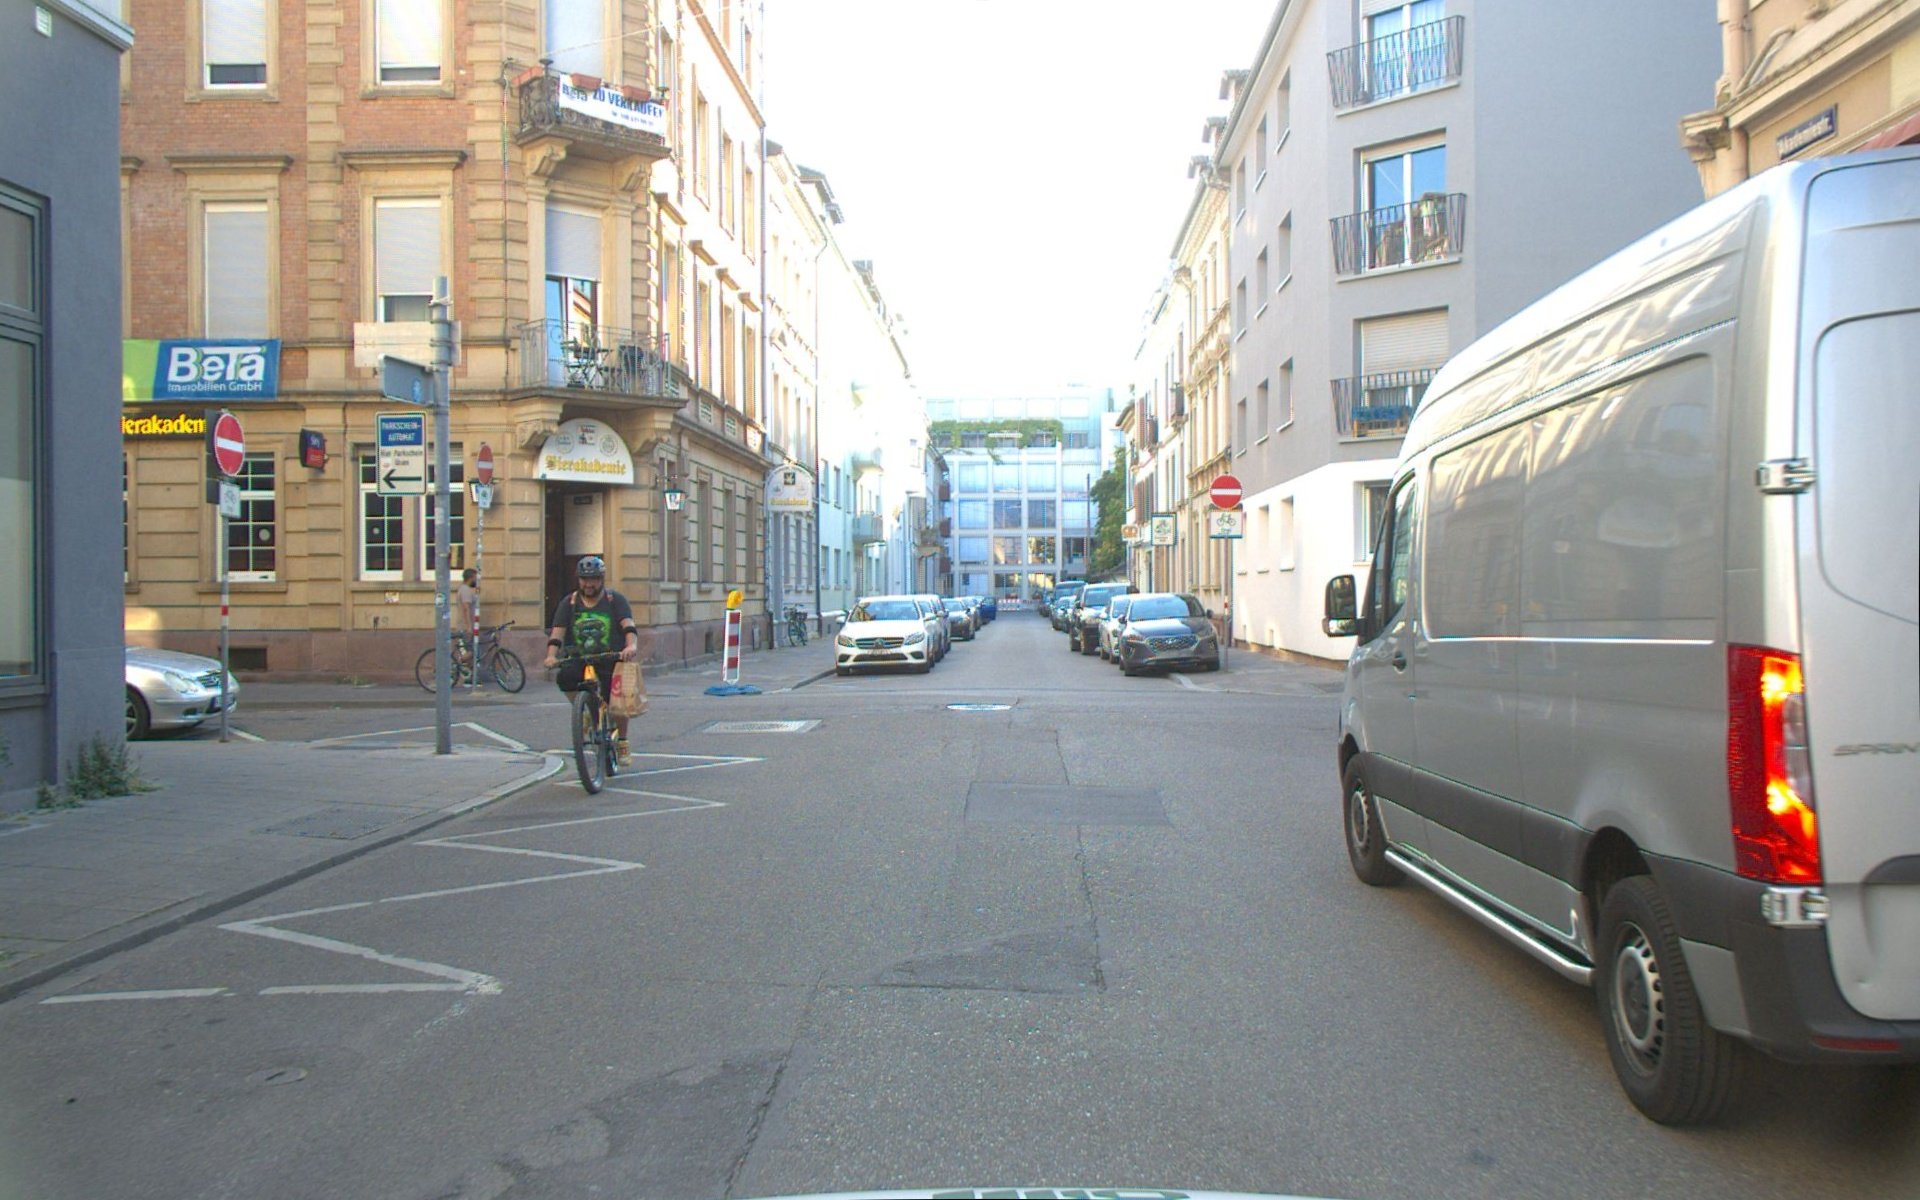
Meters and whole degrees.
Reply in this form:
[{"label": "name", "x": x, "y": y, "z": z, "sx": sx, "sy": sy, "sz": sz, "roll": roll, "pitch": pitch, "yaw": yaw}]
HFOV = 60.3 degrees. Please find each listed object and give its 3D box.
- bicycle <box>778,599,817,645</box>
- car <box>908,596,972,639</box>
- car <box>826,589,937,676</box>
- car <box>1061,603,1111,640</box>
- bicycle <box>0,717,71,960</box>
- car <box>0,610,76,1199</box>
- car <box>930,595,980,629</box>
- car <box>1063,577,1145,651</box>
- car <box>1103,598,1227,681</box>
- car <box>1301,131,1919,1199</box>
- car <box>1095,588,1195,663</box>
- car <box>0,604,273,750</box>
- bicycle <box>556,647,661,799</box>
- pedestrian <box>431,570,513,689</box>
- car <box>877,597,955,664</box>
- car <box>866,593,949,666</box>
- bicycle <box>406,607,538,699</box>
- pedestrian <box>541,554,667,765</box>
[{"label": "bicycle", "x": -4.319, "y": 0.576, "z": 44.193, "sx": 0.722, "sy": 1.181, "sz": 2.462, "roll": 0, "pitch": 0, "yaw": 2}, {"label": "car", "x": -0.633, "y": 0.562, "z": 55.395, "sx": 1.952, "sy": 1.378, "sz": 4.430, "roll": 0, "pitch": 0, "yaw": 2}, {"label": "car", "x": -1.477, "y": 0.588, "z": 32.702, "sx": 1.952, "sy": 1.591, "sz": 4.506, "roll": 0, "pitch": 0, "yaw": 0}, {"label": "car", "x": 5.158, "y": 0.870, "z": 68.044, "sx": 1.952, "sy": 1.476, "sz": 4.002, "roll": 0, "pitch": 0, "yaw": 3}, {"label": "bicycle", "x": -4.084, "y": 0.958, "z": 6.165, "sx": 0.584, "sy": 0.921, "sz": 1.644, "roll": 0, "pitch": 0, "yaw": 3}, {"label": "car", "x": -2.636, "y": 0.740, "z": 1.404, "sx": 1.623, "sy": 1.438, "sz": 3.883, "roll": -1, "pitch": 0, "yaw": 1}, {"label": "car", "x": -0.215, "y": 0.501, "z": 73.376, "sx": 2.128, "sy": 1.443, "sz": 4.000, "roll": 0, "pitch": 0, "yaw": 0}, {"label": "car", "x": 3.693, "y": 0.334, "z": 42.942, "sx": 1.854, "sy": 1.815, "sz": 4.001, "roll": 0, "pitch": 0, "yaw": 1}, {"label": "car", "x": 3.829, "y": 0.709, "z": 31.436, "sx": 1.898, "sy": 1.396, "sz": 3.789, "roll": -2, "pitch": 0, "yaw": 1}, {"label": "car", "x": 3.025, "y": 0.142, "z": 6.896, "sx": 2.229, "sy": 2.482, "sz": 6.206, "roll": 0, "pitch": 0, "yaw": 3}, {"label": "car", "x": 4.135, "y": 0.548, "z": 37.504, "sx": 1.923, "sy": 1.584, "sz": 3.889, "roll": 0, "pitch": 0, "yaw": 1}, {"label": "car", "x": -9.918, "y": 0.793, "z": 17.680, "sx": 4.382, "sy": 1.426, "sz": 1.757, "roll": 0, "pitch": 1, "yaw": 0}, {"label": "bicycle", "x": -2.713, "y": 0.915, "z": 12.920, "sx": 0.527, "sy": 1.025, "sz": 1.979, "roll": 0, "pitch": 0, "yaw": -4}, {"label": "pedestrian", "x": -7.407, "y": 0.442, "z": 25.170, "sx": 0.993, "sy": 1.772, "sz": 0.984, "roll": 0, "pitch": 0, "yaw": -4}, {"label": "car", "x": -1.141, "y": 0.774, "z": 44.091, "sx": 1.748, "sy": 1.688, "sz": 3.818, "roll": 0, "pitch": 0, "yaw": 3}, {"label": "car", "x": -1.168, "y": 0.652, "z": 38.347, "sx": 1.591, "sy": 1.604, "sz": 3.756, "roll": 0, "pitch": 0, "yaw": 3}, {"label": "bicycle", "x": -7.170, "y": 0.769, "z": 24.333, "sx": 1.722, "sy": 1.297, "sz": 0.661, "roll": 0, "pitch": 3, "yaw": -2}, {"label": "pedestrian", "x": -2.767, "y": 0.444, "z": 12.940, "sx": 0.813, "sy": 1.572, "sz": 1.081, "roll": 0, "pitch": 0, "yaw": -4}]
